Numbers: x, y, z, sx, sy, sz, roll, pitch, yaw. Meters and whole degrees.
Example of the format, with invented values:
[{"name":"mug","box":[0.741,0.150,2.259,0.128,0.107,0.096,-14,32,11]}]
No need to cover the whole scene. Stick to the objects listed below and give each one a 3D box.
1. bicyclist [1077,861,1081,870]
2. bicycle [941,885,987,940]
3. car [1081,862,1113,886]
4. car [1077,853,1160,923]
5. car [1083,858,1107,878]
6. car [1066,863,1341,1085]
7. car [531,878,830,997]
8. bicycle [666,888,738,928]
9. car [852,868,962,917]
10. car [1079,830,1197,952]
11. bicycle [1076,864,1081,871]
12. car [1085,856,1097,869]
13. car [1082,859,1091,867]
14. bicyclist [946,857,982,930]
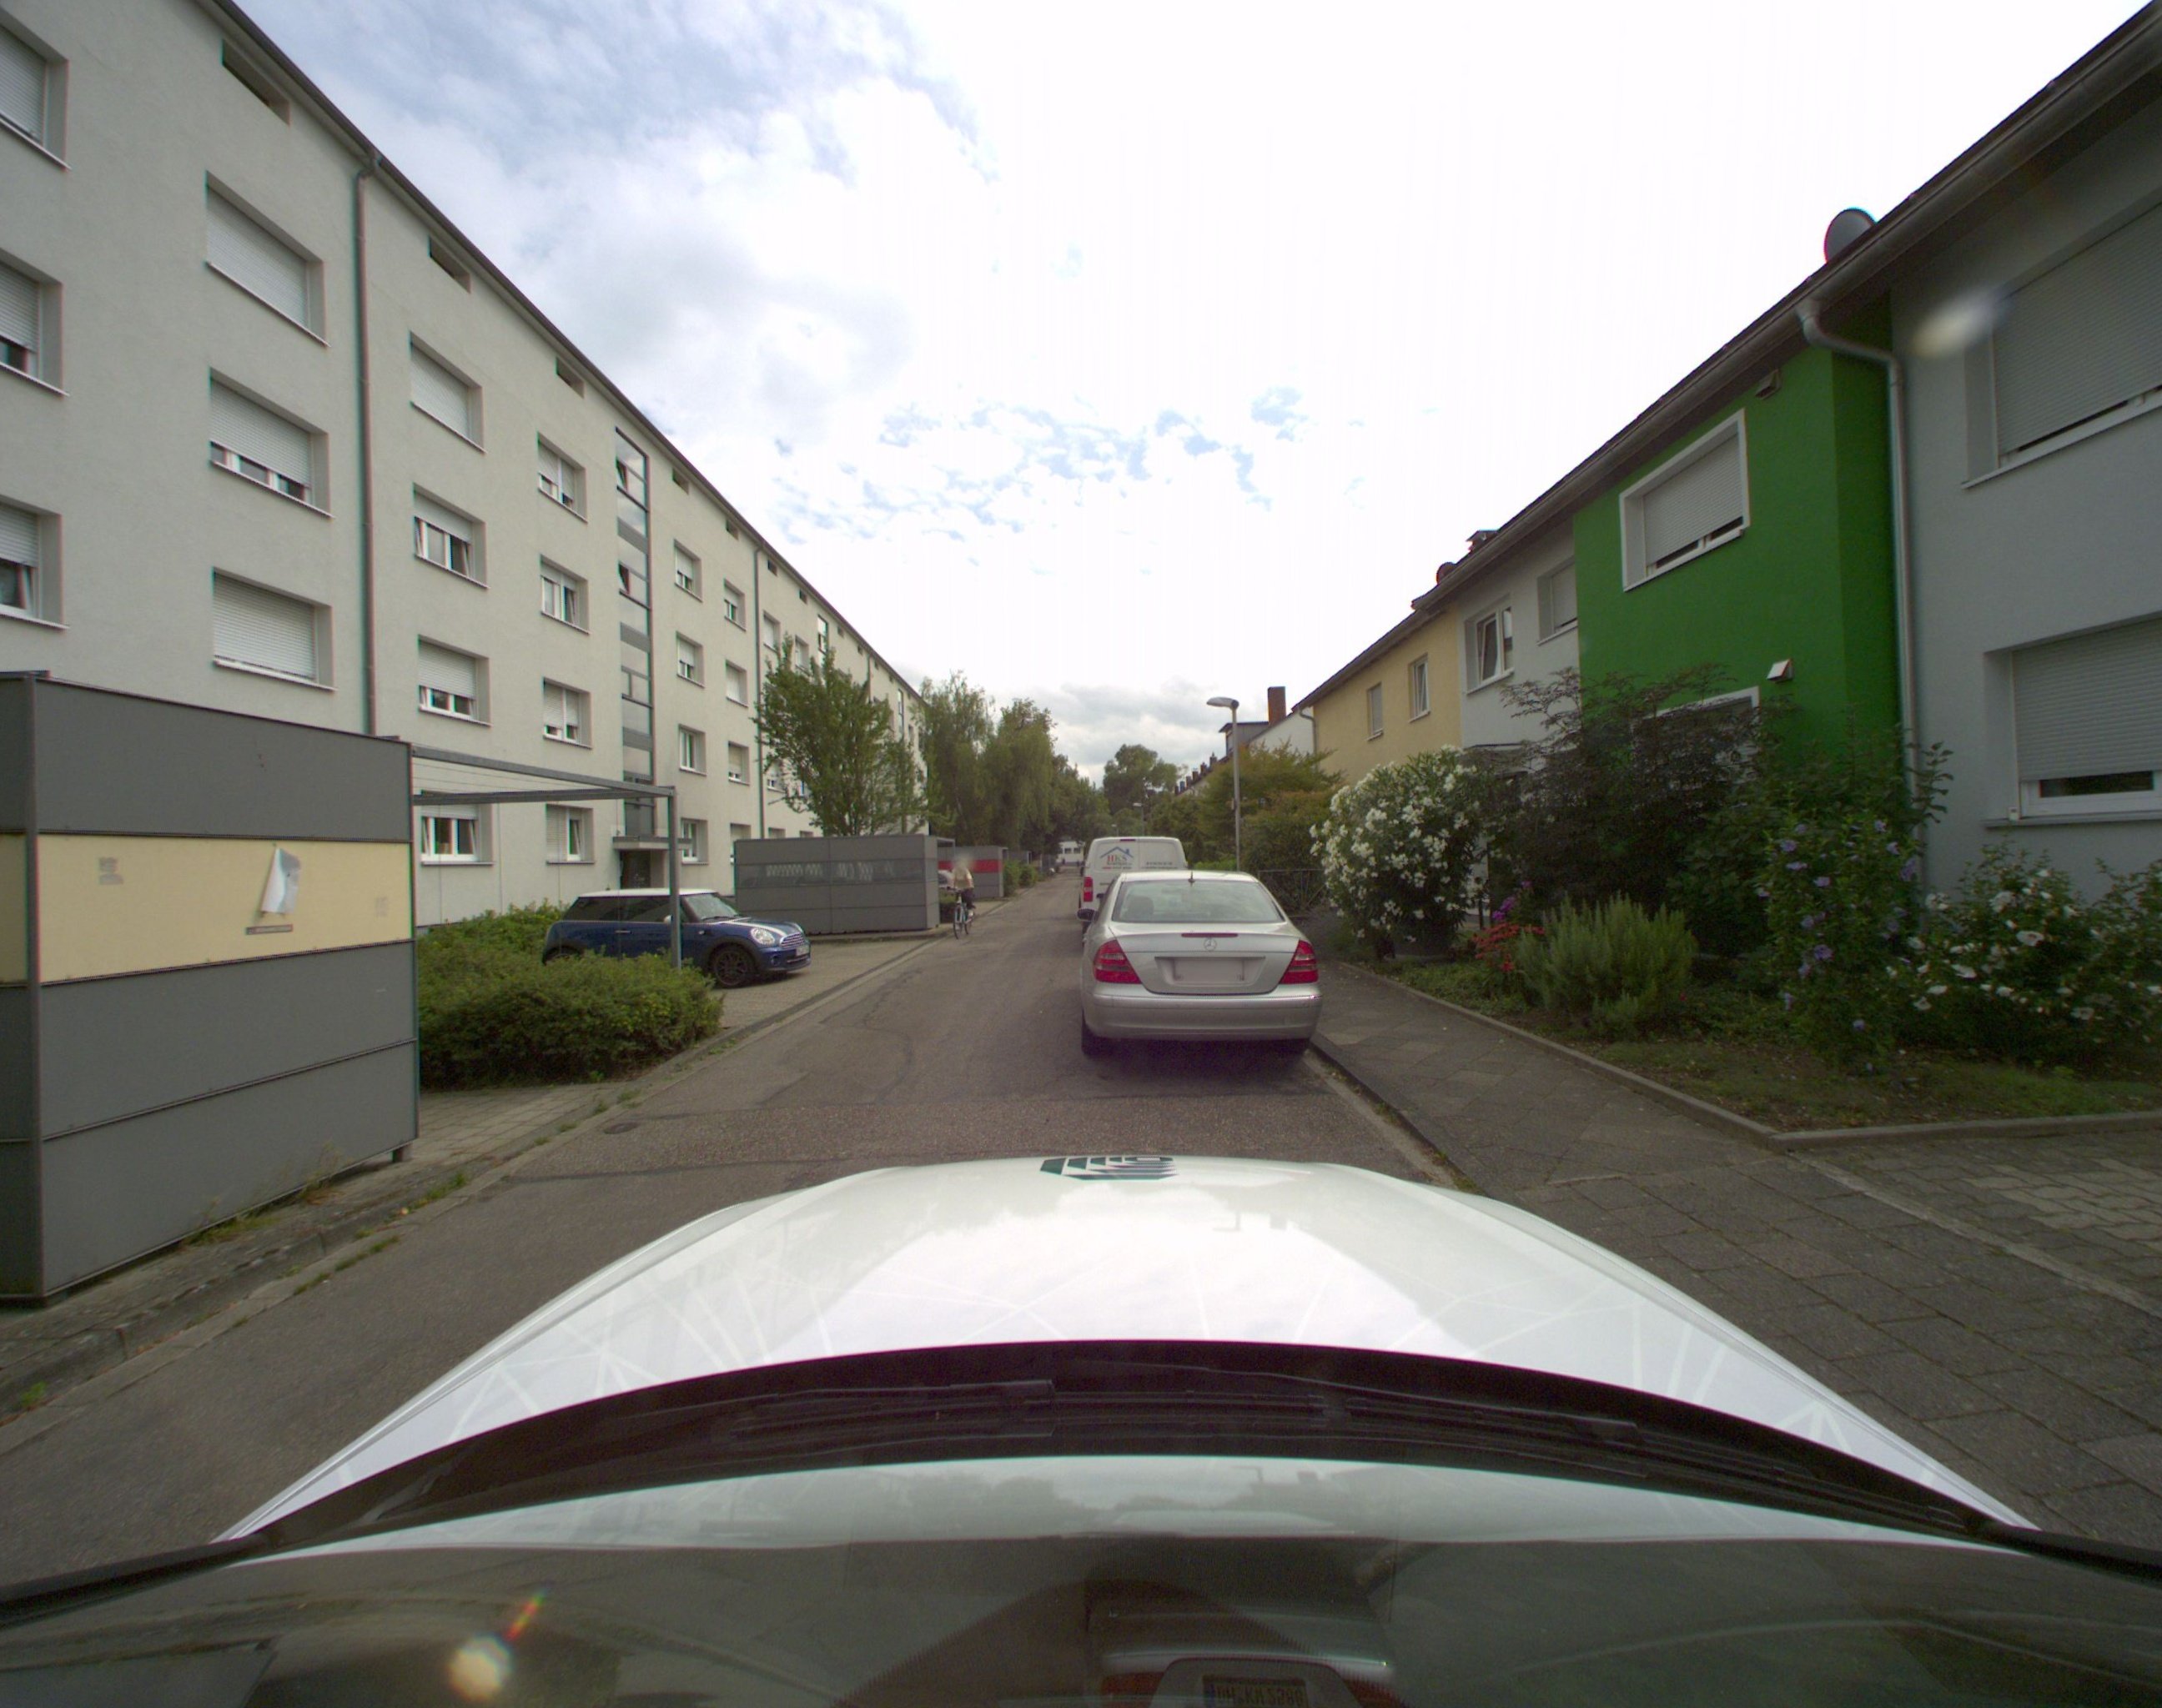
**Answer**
[{"name":"bicyclist","box":[-0.360,2.103,145.955,0.795,1.511,0.934,0,-1,2]},{"name":"bicycle","box":[-2.590,1.275,18.220,0.595,1.076,2.043,-3,-1,2]},{"name":"car","box":[0.948,1.189,49.278,1.819,1.370,4.331,0,0,1]},{"name":"car","box":[0.892,0.829,21.598,1.820,1.636,4.158,-1,-1,-3]},{"name":"car","box":[1.136,1.144,68.005,1.820,1.581,3.998,0,0,-1]},{"name":"car","box":[0.876,0.810,7.558,1.777,1.421,4.457,-1,-1,2]},{"name":"car","box":[-5.901,1.205,12.271,3.619,1.461,1.654,-3,-1,3]},{"name":"bicycle","box":[-11.007,1.541,23.667,1.820,1.024,0.473,-2,-1,-41]},{"name":"car","box":[-6.156,1.350,29.128,3.555,1.480,1.708,-3,0,-5]},{"name":"car","box":[0.919,0.630,15.936,1.898,1.964,5.252,-1,-1,0]},{"name":"bicycle","box":[-0.401,2.413,146.001,0.686,1.131,2.580,0,-1,2]},{"name":"car","box":[1.476,1.286,124.587,1.819,1.883,4.000,0,0,1]},{"name":"car","box":[1.202,1.742,165.541,1.819,1.581,4.000,0,0,1]},{"name":"bicyclist","box":[-2.619,0.871,18.258,0.595,1.581,0.767,-3,-1,1]}]
